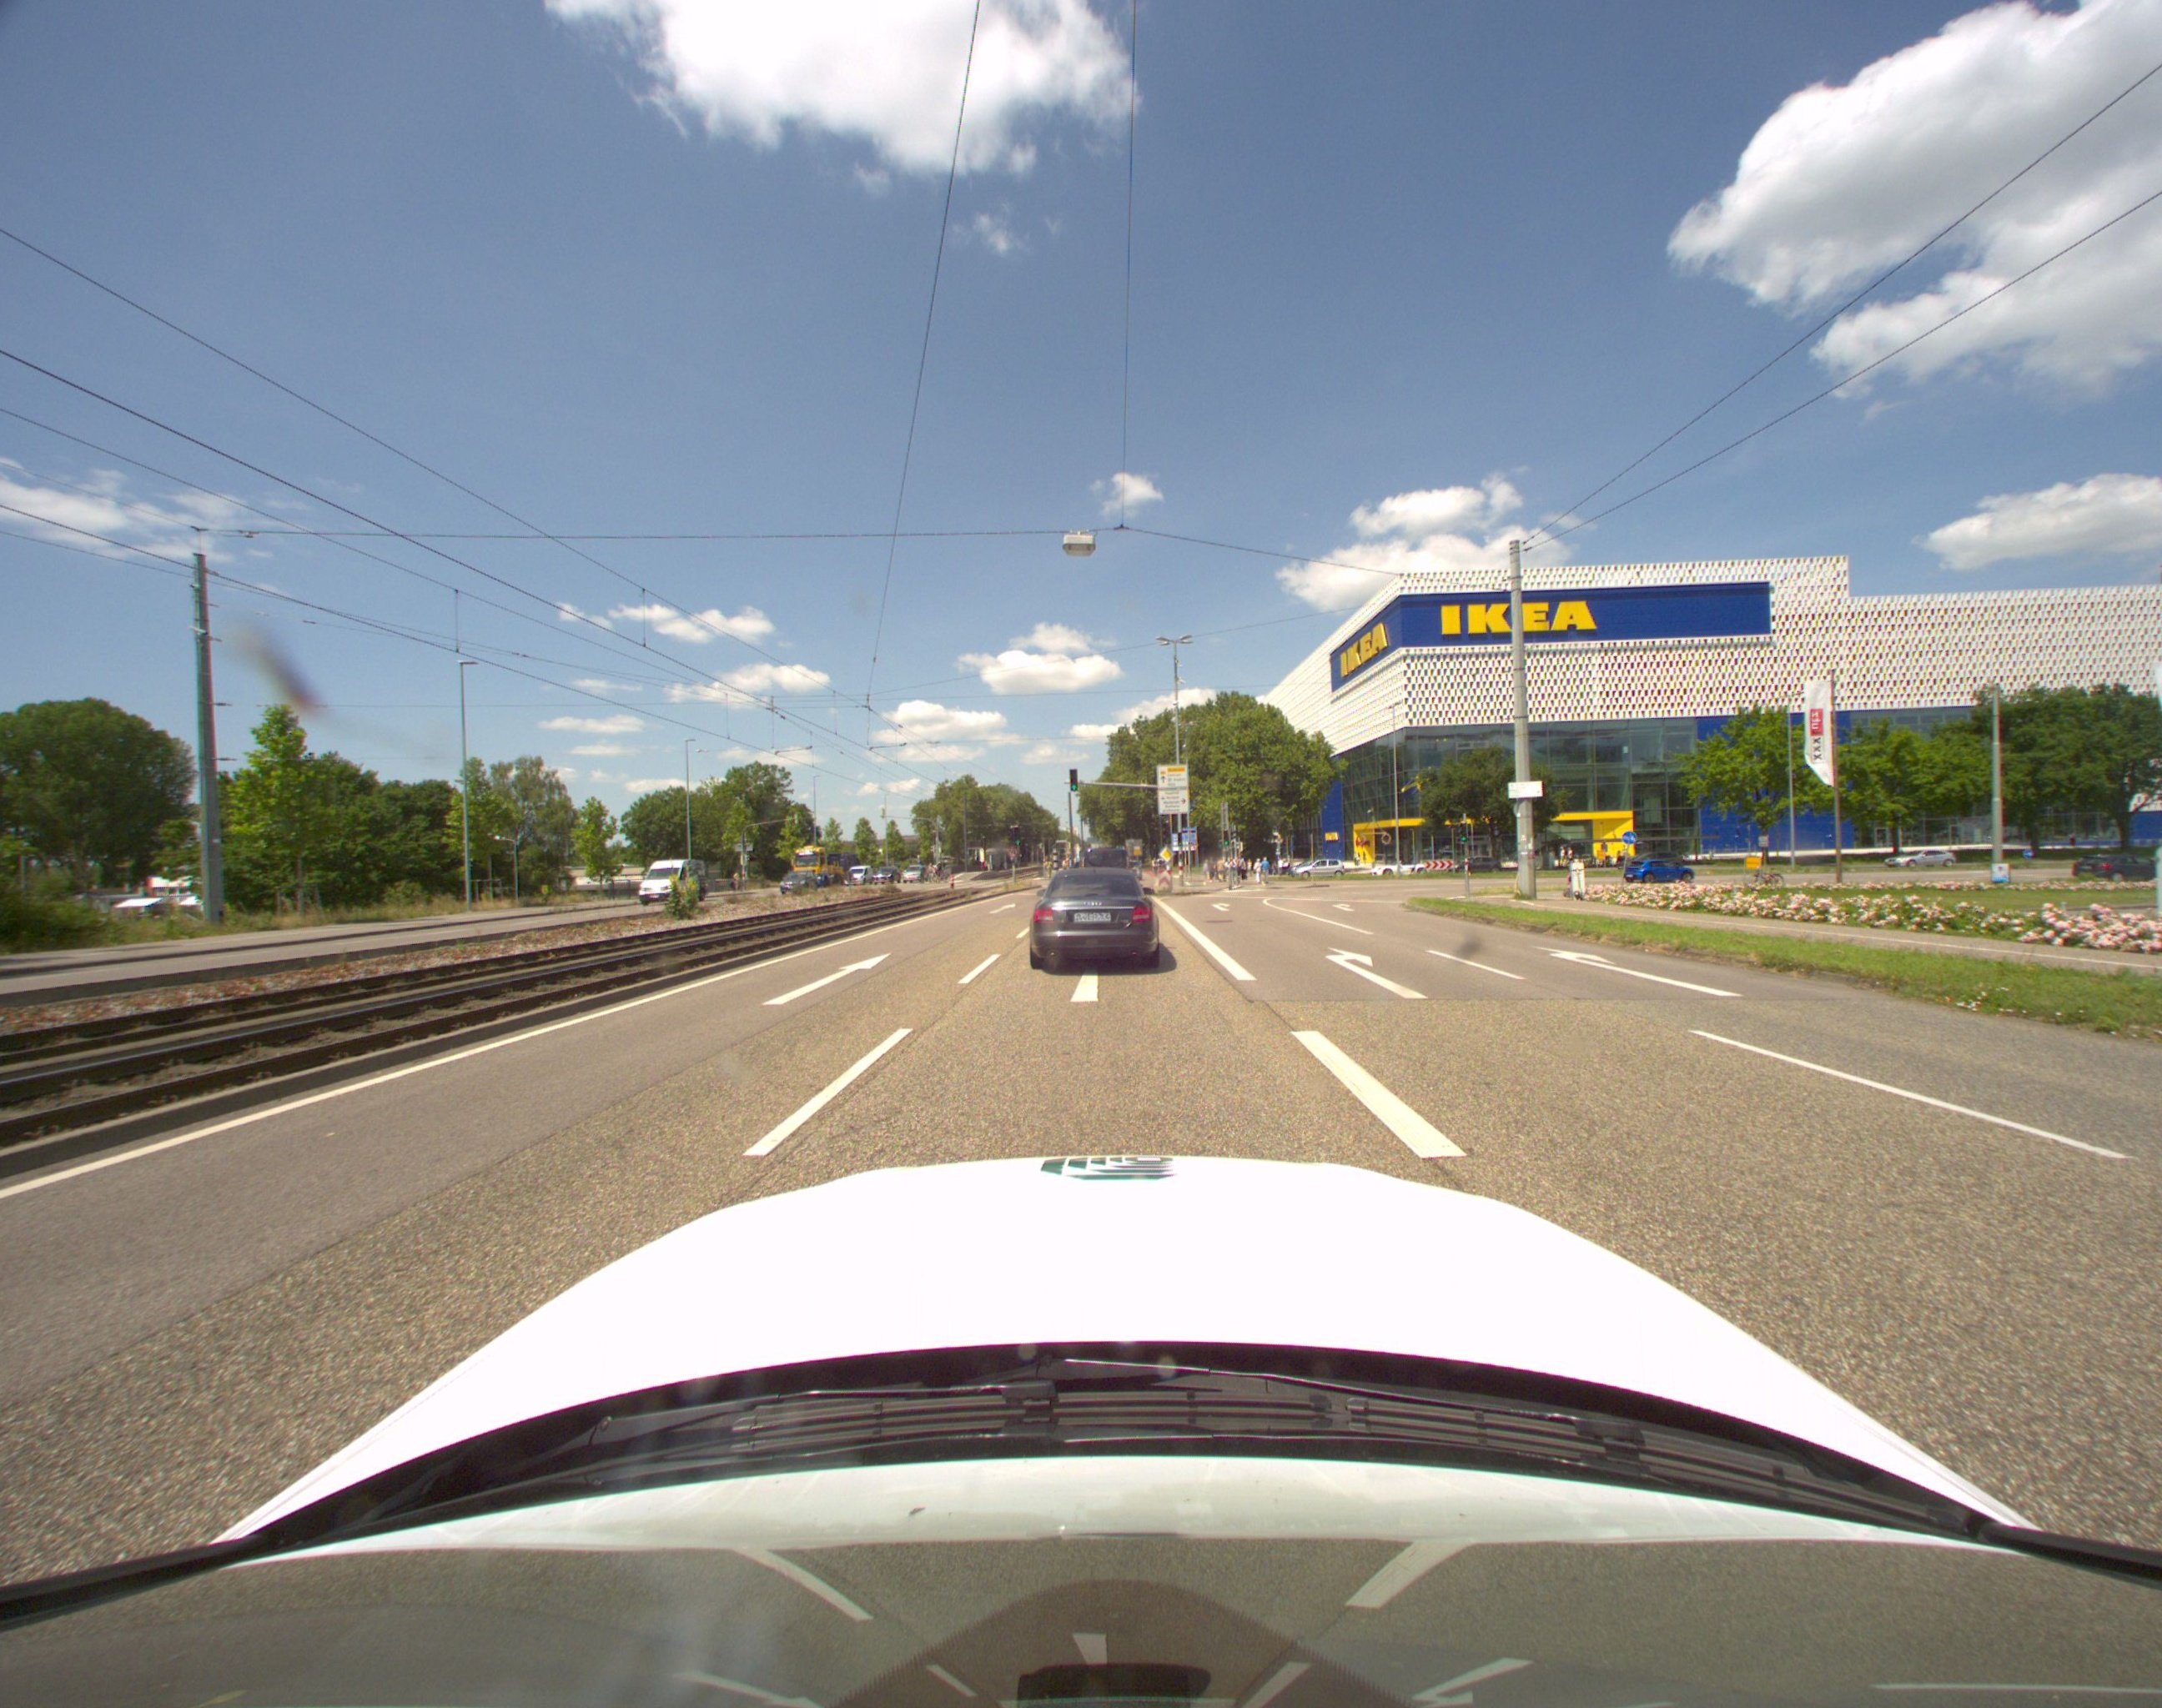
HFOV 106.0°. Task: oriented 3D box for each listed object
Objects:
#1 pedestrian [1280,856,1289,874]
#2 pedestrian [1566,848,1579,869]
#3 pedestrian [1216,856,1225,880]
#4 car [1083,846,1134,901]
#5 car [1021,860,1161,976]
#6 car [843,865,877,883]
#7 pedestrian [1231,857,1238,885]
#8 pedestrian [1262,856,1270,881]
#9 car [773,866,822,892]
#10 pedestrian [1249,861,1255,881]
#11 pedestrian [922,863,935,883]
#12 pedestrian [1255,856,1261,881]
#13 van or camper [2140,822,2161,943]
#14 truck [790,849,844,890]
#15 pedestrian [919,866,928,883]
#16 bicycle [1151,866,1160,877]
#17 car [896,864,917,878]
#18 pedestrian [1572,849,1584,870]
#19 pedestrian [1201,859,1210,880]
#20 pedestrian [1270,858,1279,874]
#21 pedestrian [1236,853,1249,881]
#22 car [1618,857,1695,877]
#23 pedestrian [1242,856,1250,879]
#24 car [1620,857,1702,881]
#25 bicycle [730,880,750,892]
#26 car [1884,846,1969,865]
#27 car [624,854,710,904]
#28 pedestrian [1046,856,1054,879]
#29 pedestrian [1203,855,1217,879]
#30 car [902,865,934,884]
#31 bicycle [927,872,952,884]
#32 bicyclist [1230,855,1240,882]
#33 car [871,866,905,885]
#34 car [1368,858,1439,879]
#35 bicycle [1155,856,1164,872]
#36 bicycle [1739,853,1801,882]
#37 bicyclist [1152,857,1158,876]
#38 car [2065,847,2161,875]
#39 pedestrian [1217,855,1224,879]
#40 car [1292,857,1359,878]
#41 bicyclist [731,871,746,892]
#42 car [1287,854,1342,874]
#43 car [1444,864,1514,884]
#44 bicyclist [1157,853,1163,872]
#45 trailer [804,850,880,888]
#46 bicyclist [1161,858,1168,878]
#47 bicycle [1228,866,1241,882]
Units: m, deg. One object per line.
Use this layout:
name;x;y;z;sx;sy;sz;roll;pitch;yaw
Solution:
pedestrian;19.057;1.019;76.287;0.698;1.635;0.615;-1;-1;21
pedestrian;48.245;0.470;79.935;0.707;2.014;0.825;-1;-1;4
pedestrian;9.541;0.948;55.806;0.551;1.635;0.433;-1;-1;4
car;1.063;0.739;31.621;1.830;1.950;4.001;-1;-1;1
car;0.199;0.847;12.633;1.786;1.455;4.002;-1;0;2
car;-21.098;1.913;78.027;1.814;1.670;4.465;0;0;3
pedestrian;8.988;0.974;47.696;0.379;1.635;0.377;-1;-1;4
pedestrian;12.072;0.934;53.165;0.396;1.635;0.371;-1;-1;4
car;-20.102;1.747;57.989;1.815;1.670;4.463;0;0;2
pedestrian;11.213;1.122;53.394;0.371;1.304;0.365;-1;-1;4
pedestrian;-13.577;1.703;72.543;0.816;1.720;0.779;-1;-1;24
pedestrian;11.567;0.955;53.207;0.319;1.635;0.377;-1;-1;5
van or camper;27.904;0.670;17.045;2.494;3.020;7.234;-1;0;6
truck;-24.643;1.423;76.244;2.757;3.569;6.442;-1;-1;2
pedestrian;-13.547;1.721;70.009;0.683;1.443;0.572;-1;-1;-2
bicycle;6.949;1.592;76.350;0.685;0.993;2.753;-1;0;2
car;-23.484;2.273;109.563;1.811;1.883;4.001;-1;-1;2
pedestrian;48.120;0.515;78.825;0.707;2.014;0.825;-1;-1;4
pedestrian;9.079;1.113;59.231;0.490;1.520;0.710;-1;-1;19
pedestrian;18.209;1.132;76.565;0.698;1.544;0.681;-1;-1;21
pedestrian;11.013;0.886;55.631;0.678;1.846;0.711;-1;-1;27
car;44.066;0.985;62.430;4.475;1.486;2.003;0;0;5
pedestrian;11.892;0.965;58.702;0.518;1.670;0.495;-1;-1;5
car;36.044;0.946;50.672;3.980;1.454;1.840;0;0;-5
bicycle;-29.111;2.747;69.521;1.487;0.987;0.485;-1;-1;-3
car;67.000;0.120;64.577;4.475;1.486;2.003;0;0;5
car;-24.179;1.403;47.890;2.240;2.589;6.222;-4;0;-6
pedestrian;-2.742;1.190;73.141;0.683;2.014;0.572;-1;-1;-3
pedestrian;8.886;0.902;56.132;0.706;1.635;0.711;-1;-1;27
car;-15.374;1.893;77.028;1.814;1.670;4.466;0;0;4
bicycle;-12.043;2.031;69.140;2.055;0.925;0.751;-1;-1;-9
bicyclist;9.974;0.926;52.741;0.525;1.764;0.831;-1;-1;15
car;-18.171;1.996;76.740;1.814;1.670;4.467;0;0;5
car;23.679;1.018;59.922;4.475;1.486;2.003;0;0;5
bicycle;7.776;0.992;81.033;0.685;1.519;2.753;-1;0;2
bicycle;36.830;0.724;43.563;2.410;1.481;0.990;-1;-1;6
bicyclist;7.001;1.214;77.158;0.526;1.789;1.088;-1;-1;2
car;58.999;0.400;46.238;4.072;1.526;1.767;-1;0;0
pedestrian;9.554;0.911;55.749;0.443;1.635;0.430;-1;-1;4
car;18.009;1.013;60.135;4.475;1.486;2.003;0;0;5
bicyclist;-29.275;2.354;69.513;1.116;1.774;0.340;-1;-1;-3
car;18.131;0.792;63.398;3.770;1.486;2.003;0;0;5
car;30.907;1.557;63.322;4.475;1.486;2.003;-1;-1;5
bicyclist;7.808;0.839;80.672;0.527;1.789;1.088;-1;-1;2
trailer;-24.399;1.495;84.512;2.757;3.518;15.883;-1;-1;2
bicyclist;7.279;1.221;71.305;0.526;1.676;1.088;-1;-1;2
bicycle;9.899;1.278;52.587;0.654;1.022;1.869;-1;-1;15
